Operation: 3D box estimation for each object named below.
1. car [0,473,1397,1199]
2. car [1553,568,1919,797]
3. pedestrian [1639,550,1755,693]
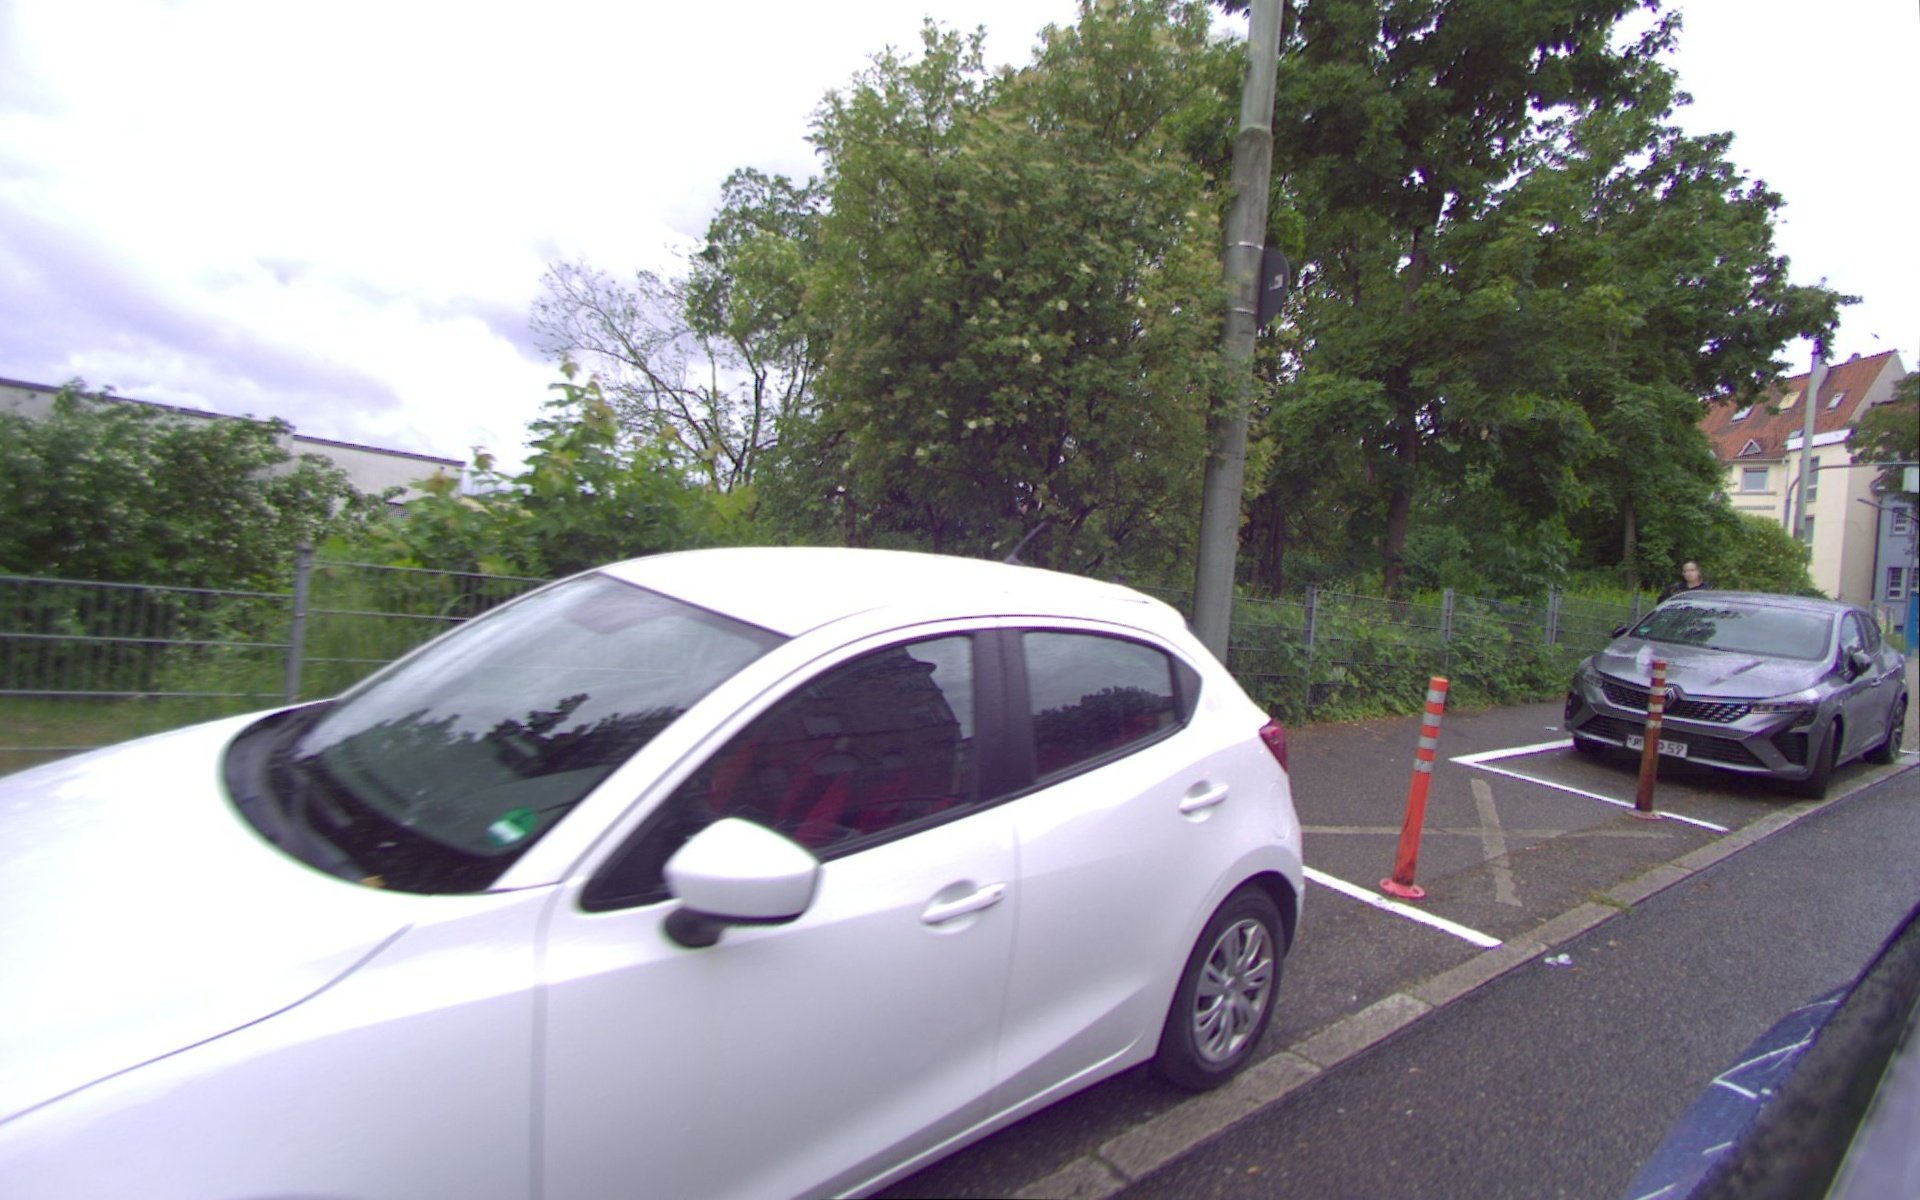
[{"bbox_3d":[-0.689,0.552,2.695,3.932,1.511,1.820,-2,9,-42],"label":"car"},{"bbox_3d":[6.825,0.516,8.668,3.744,1.420,1.655,-1,7,-38],"label":"car"},{"bbox_3d":[8.954,0.235,12.300,0.947,1.624,0.768,0,4,-36],"label":"pedestrian"}]
